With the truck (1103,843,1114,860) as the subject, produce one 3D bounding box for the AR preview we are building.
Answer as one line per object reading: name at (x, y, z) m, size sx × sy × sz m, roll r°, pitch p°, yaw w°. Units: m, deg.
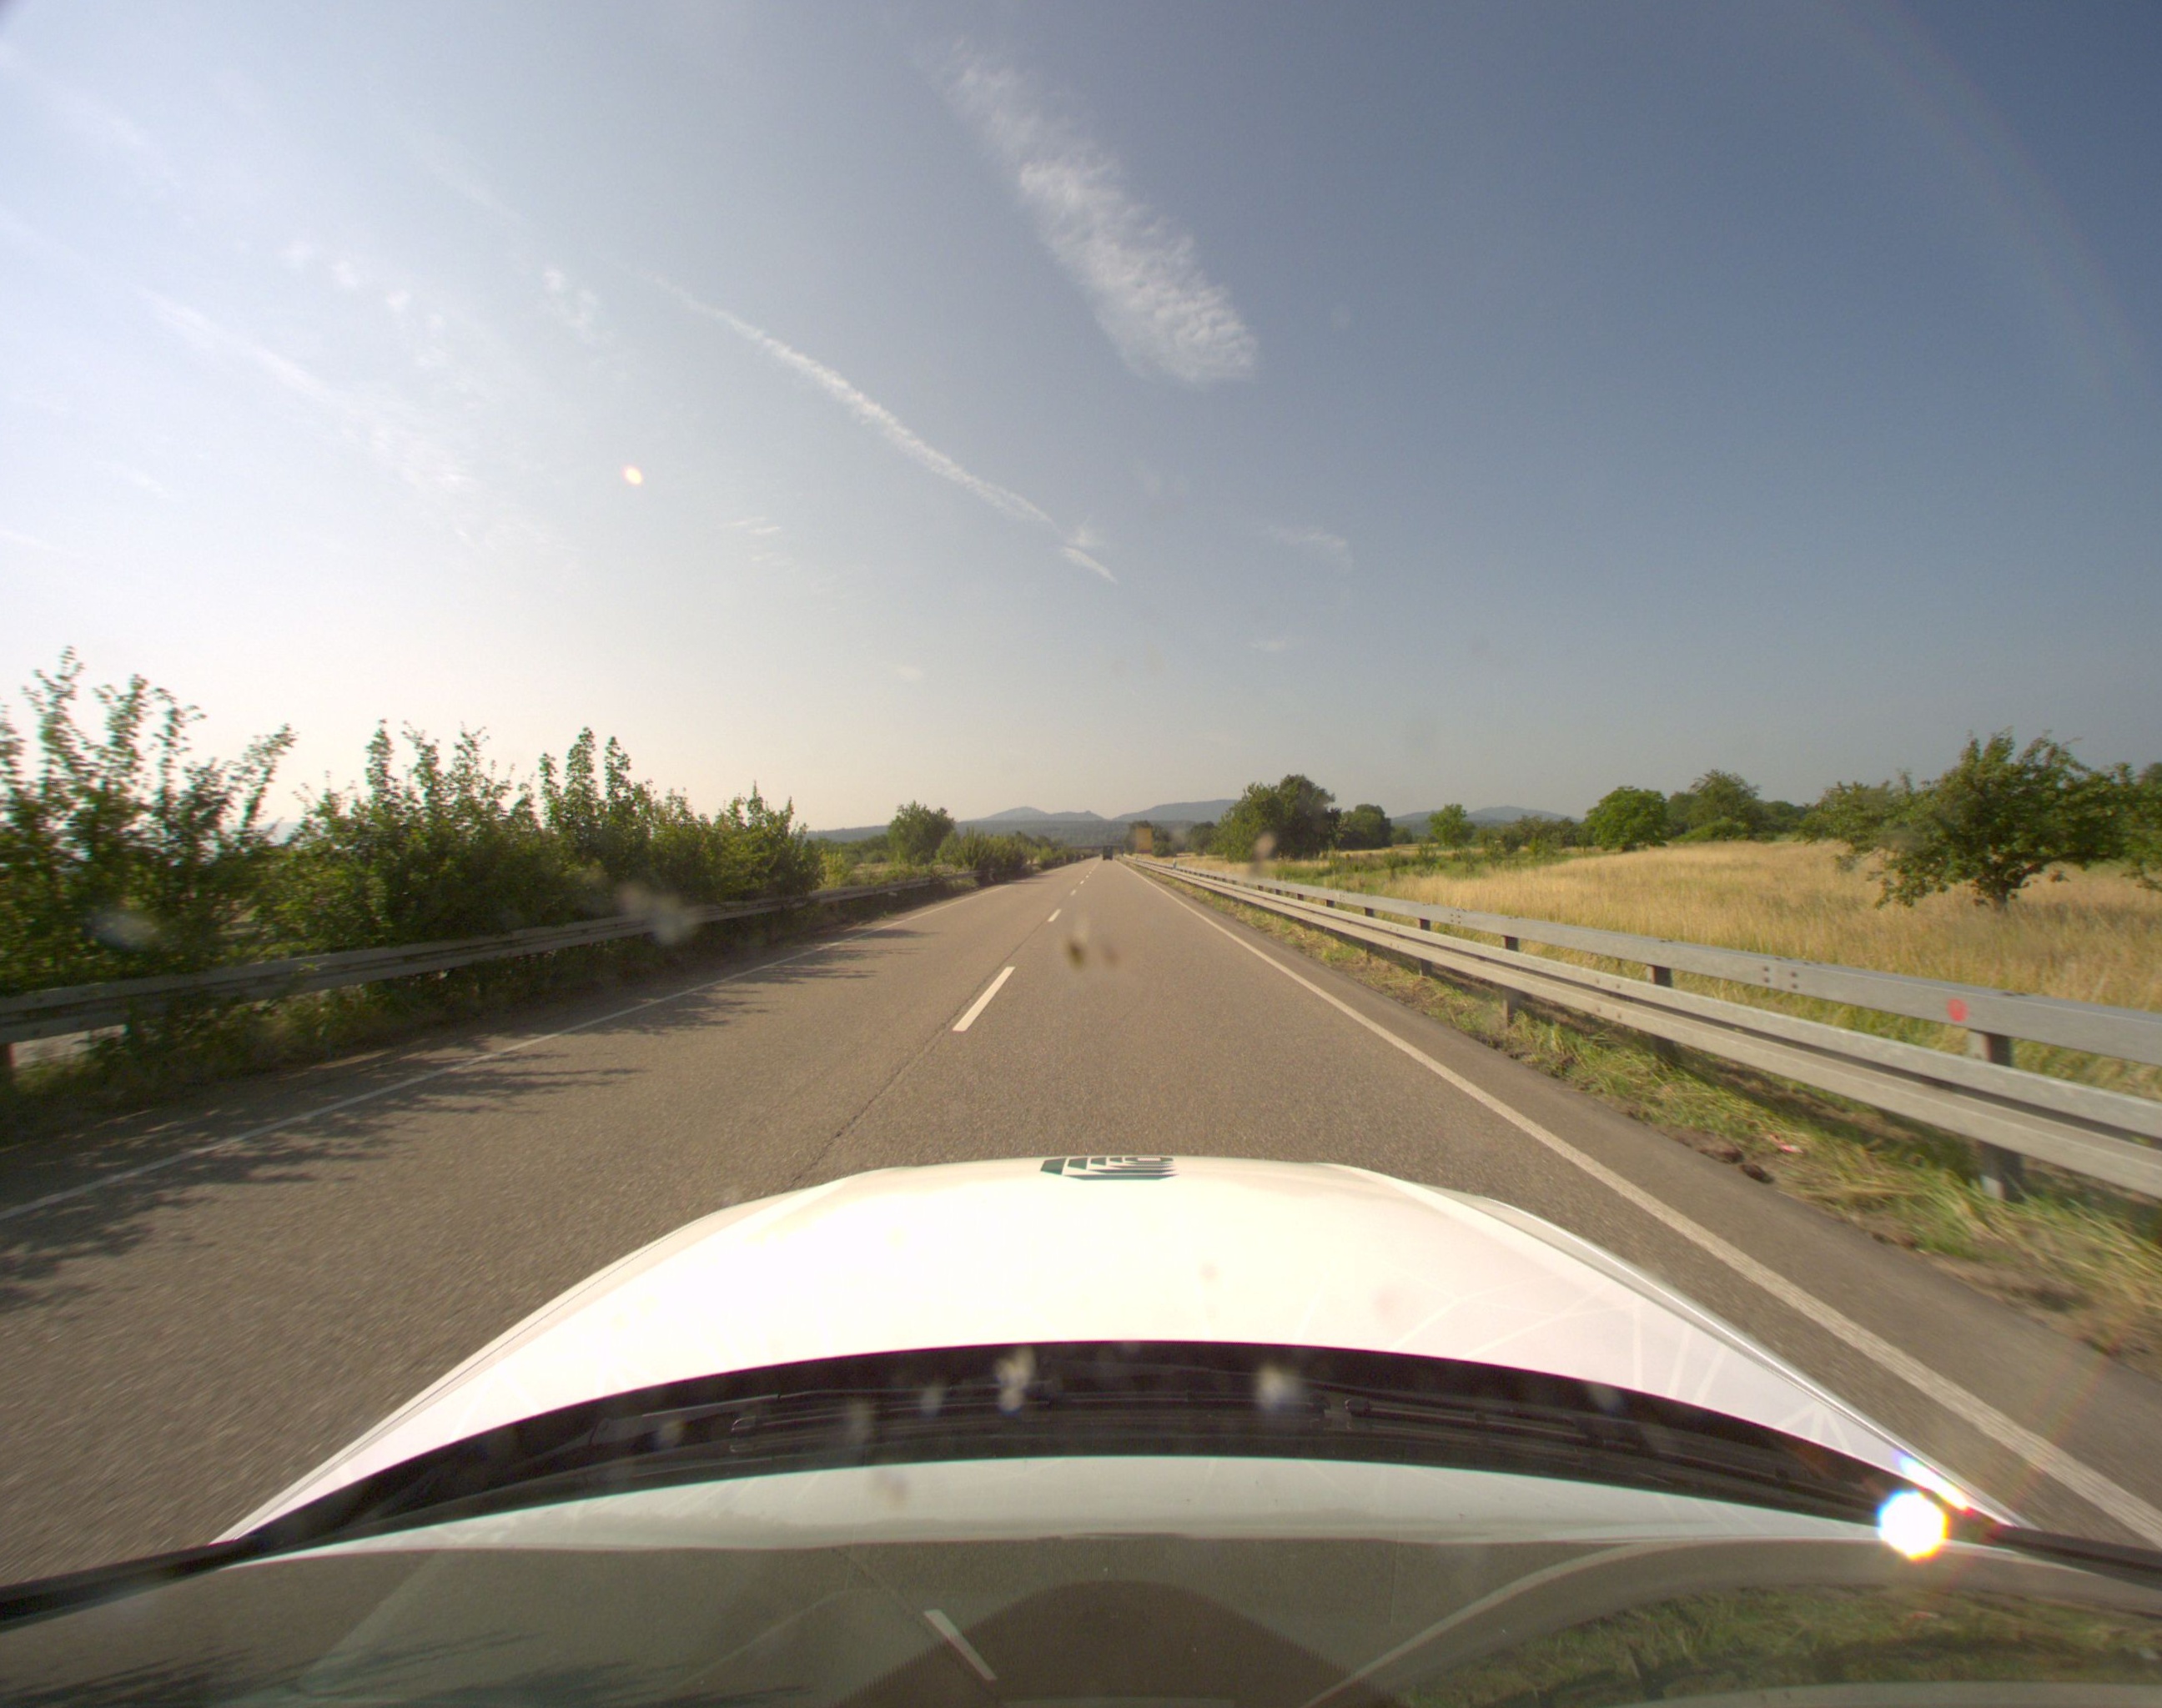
truck at (7.061, -0.654, 206.093) m, size 2.711 × 3.965 × 10.422 m, roll 0°, pitch 1°, yaw 2°
